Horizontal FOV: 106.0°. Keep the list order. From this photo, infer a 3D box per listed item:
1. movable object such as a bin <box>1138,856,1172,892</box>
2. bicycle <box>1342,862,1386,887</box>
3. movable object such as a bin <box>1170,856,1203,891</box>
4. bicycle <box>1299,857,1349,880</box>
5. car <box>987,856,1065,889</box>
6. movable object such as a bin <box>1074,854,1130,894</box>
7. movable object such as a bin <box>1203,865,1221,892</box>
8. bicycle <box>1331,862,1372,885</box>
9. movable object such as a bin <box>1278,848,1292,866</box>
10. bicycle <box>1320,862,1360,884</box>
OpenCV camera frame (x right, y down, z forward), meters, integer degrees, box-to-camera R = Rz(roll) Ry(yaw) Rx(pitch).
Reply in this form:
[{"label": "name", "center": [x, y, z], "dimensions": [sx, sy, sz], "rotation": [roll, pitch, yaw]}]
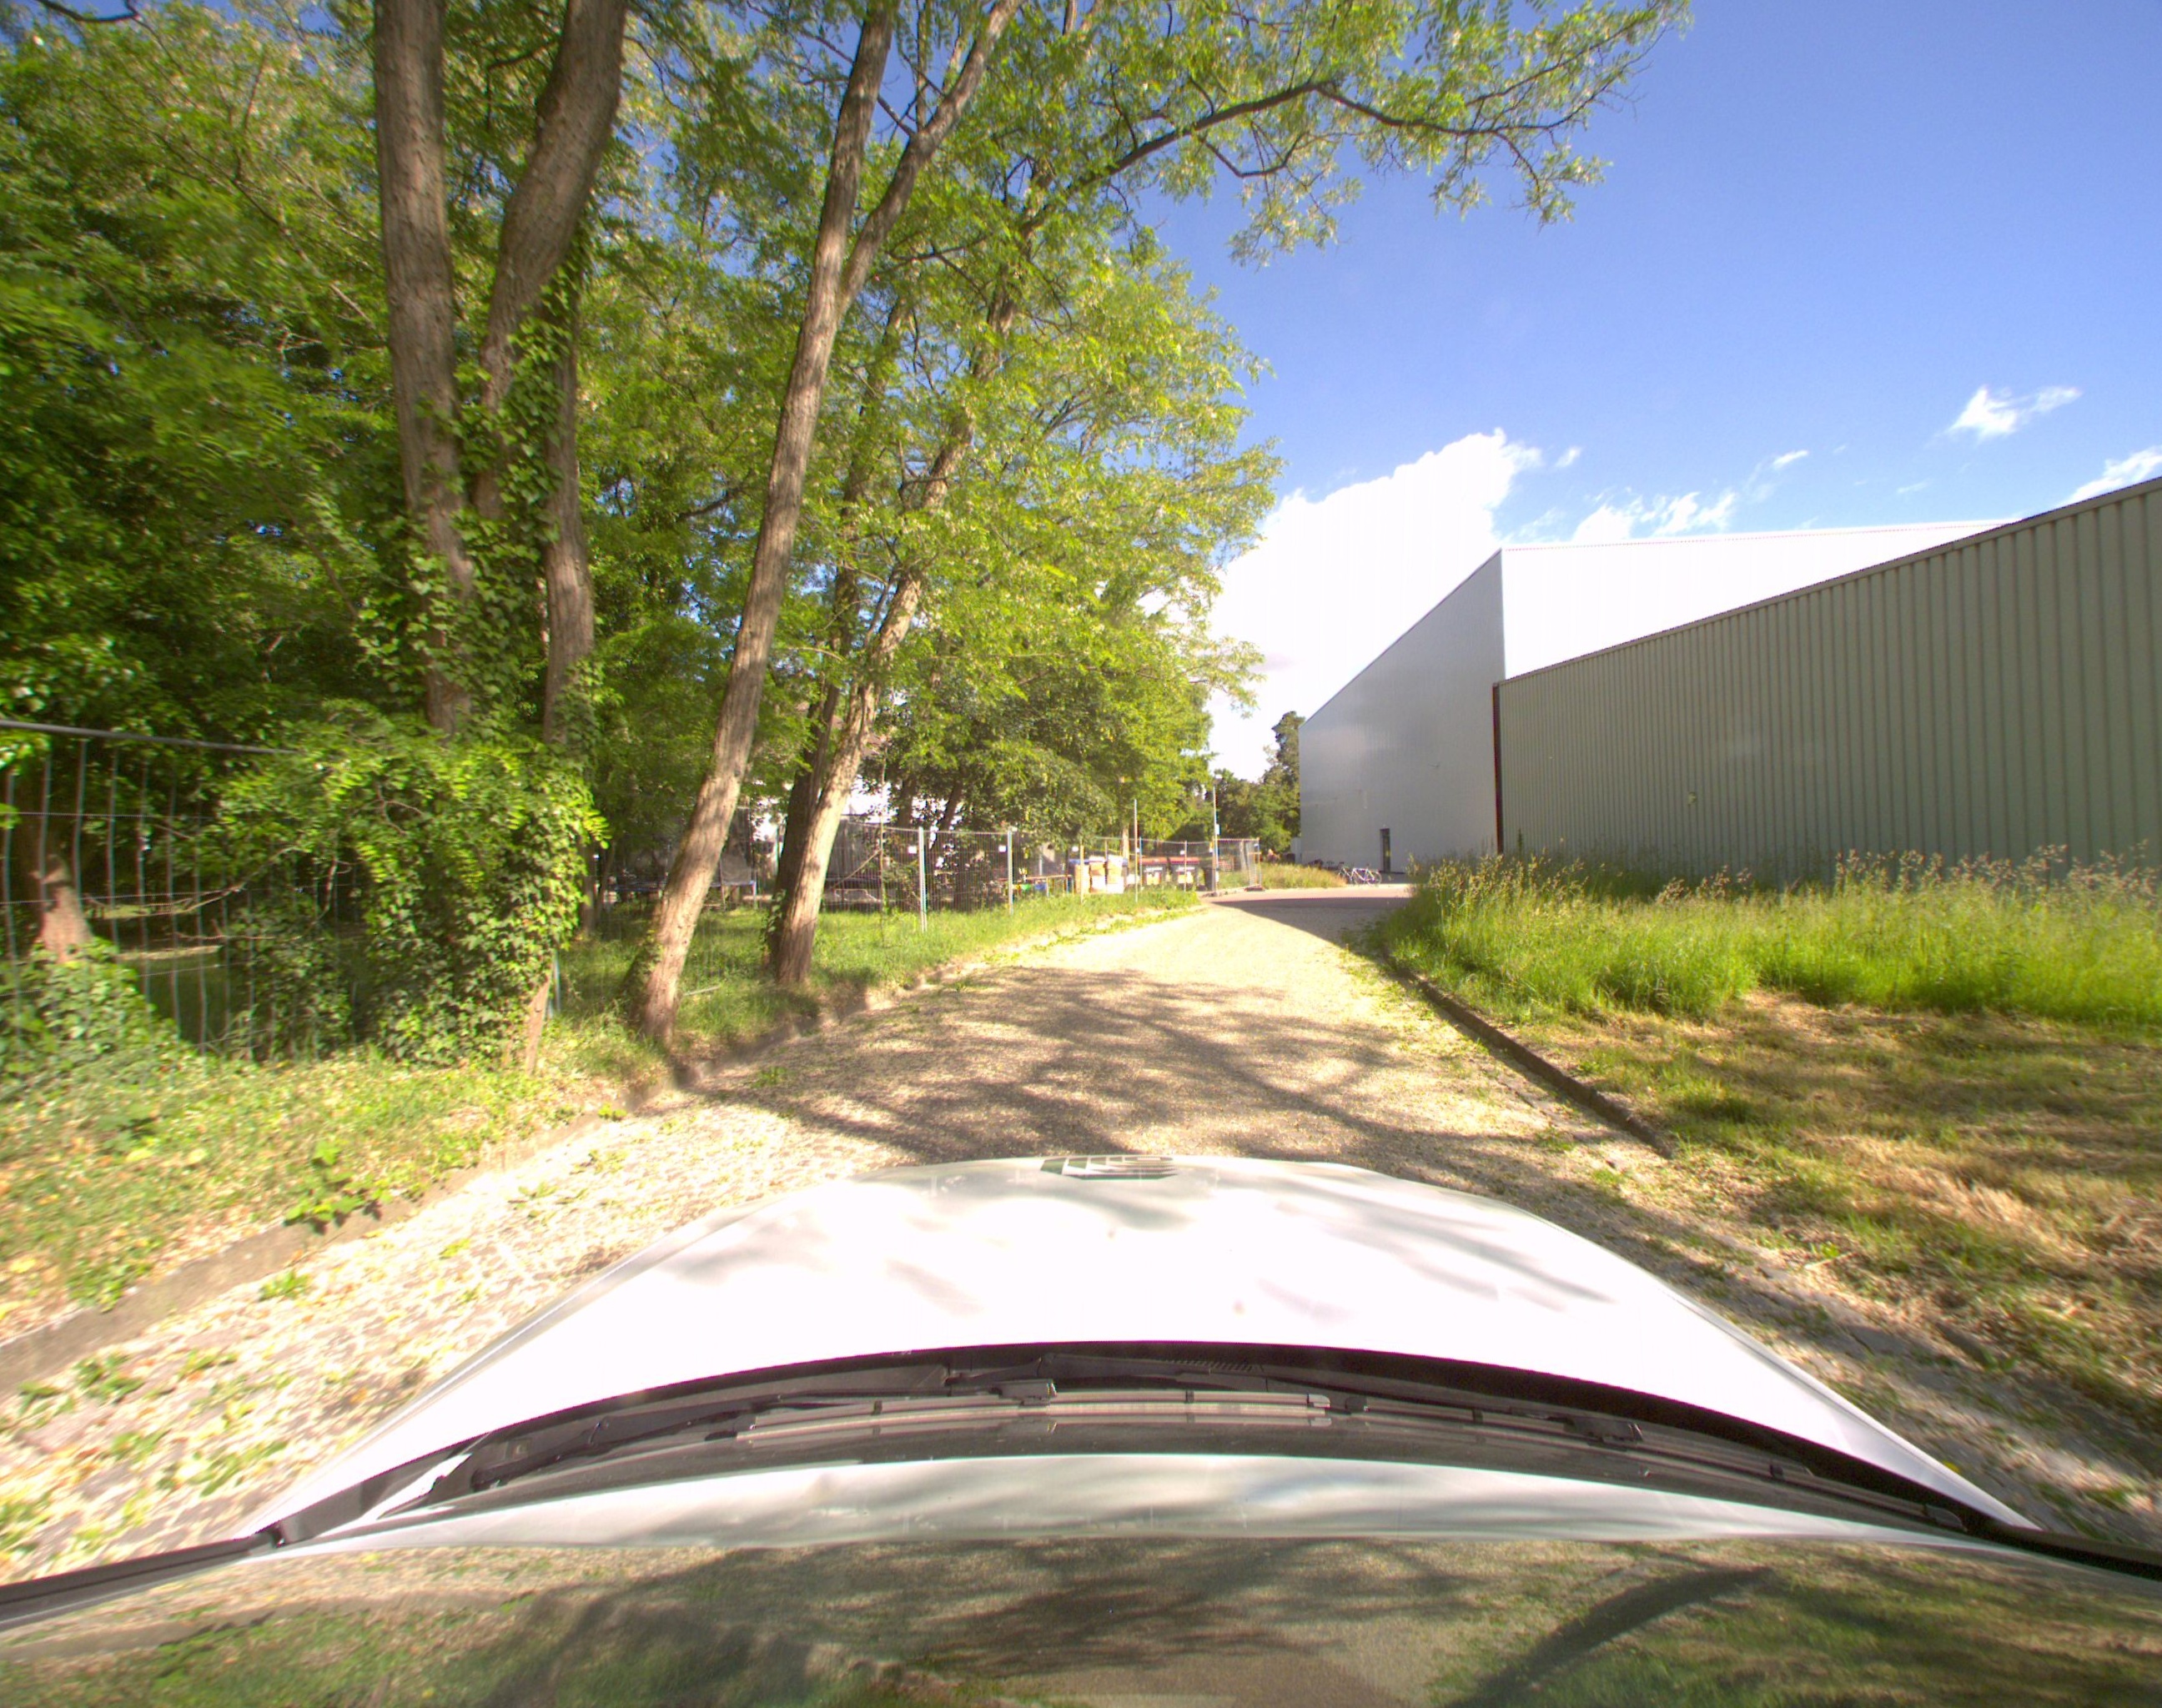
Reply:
[{"label": "movable object such as a bin", "center": [3.125, 0.824, 34.472], "dimensions": [1.334, 1.484, 0.806], "rotation": [-1, -1, -2]}, {"label": "bicycle", "center": [12.689, 0.903, 36.581], "dimensions": [1.794, 1.062, 0.459], "rotation": [-1, -1, -1]}, {"label": "movable object such as a bin", "center": [4.458, 0.818, 34.412], "dimensions": [1.241, 1.444, 0.702], "rotation": [-1, -1, -1]}, {"label": "bicycle", "center": [14.066, 0.813, 47.271], "dimensions": [2.615, 1.266, 1.143], "rotation": [-1, -1, 9]}, {"label": "car", "center": [-3.461, 1.175, 51.940], "dimensions": [4.694, 1.902, 2.000], "rotation": [-3, -1, 0]}, {"label": "movable object such as a bin", "center": [0.876, 0.820, 34.322], "dimensions": [2.281, 1.591, 1.174], "rotation": [-1, -1, -1]}, {"label": "movable object such as a bin", "center": [5.499, 1.012, 34.199], "dimensions": [0.732, 1.097, 0.821], "rotation": [-1, -1, 8]}, {"label": "bicycle", "center": [13.008, 0.940, 39.138], "dimensions": [1.783, 1.082, 0.525], "rotation": [-1, -1, 6]}, {"label": "movable object such as a bin", "center": [23.224, 0.310, 92.607], "dimensions": [1.410, 2.014, 1.128], "rotation": [-1, -1, 9]}, {"label": "bicycle", "center": [13.255, 0.969, 41.682], "dimensions": [1.879, 1.095, 0.526], "rotation": [-2, -1, 3]}]
